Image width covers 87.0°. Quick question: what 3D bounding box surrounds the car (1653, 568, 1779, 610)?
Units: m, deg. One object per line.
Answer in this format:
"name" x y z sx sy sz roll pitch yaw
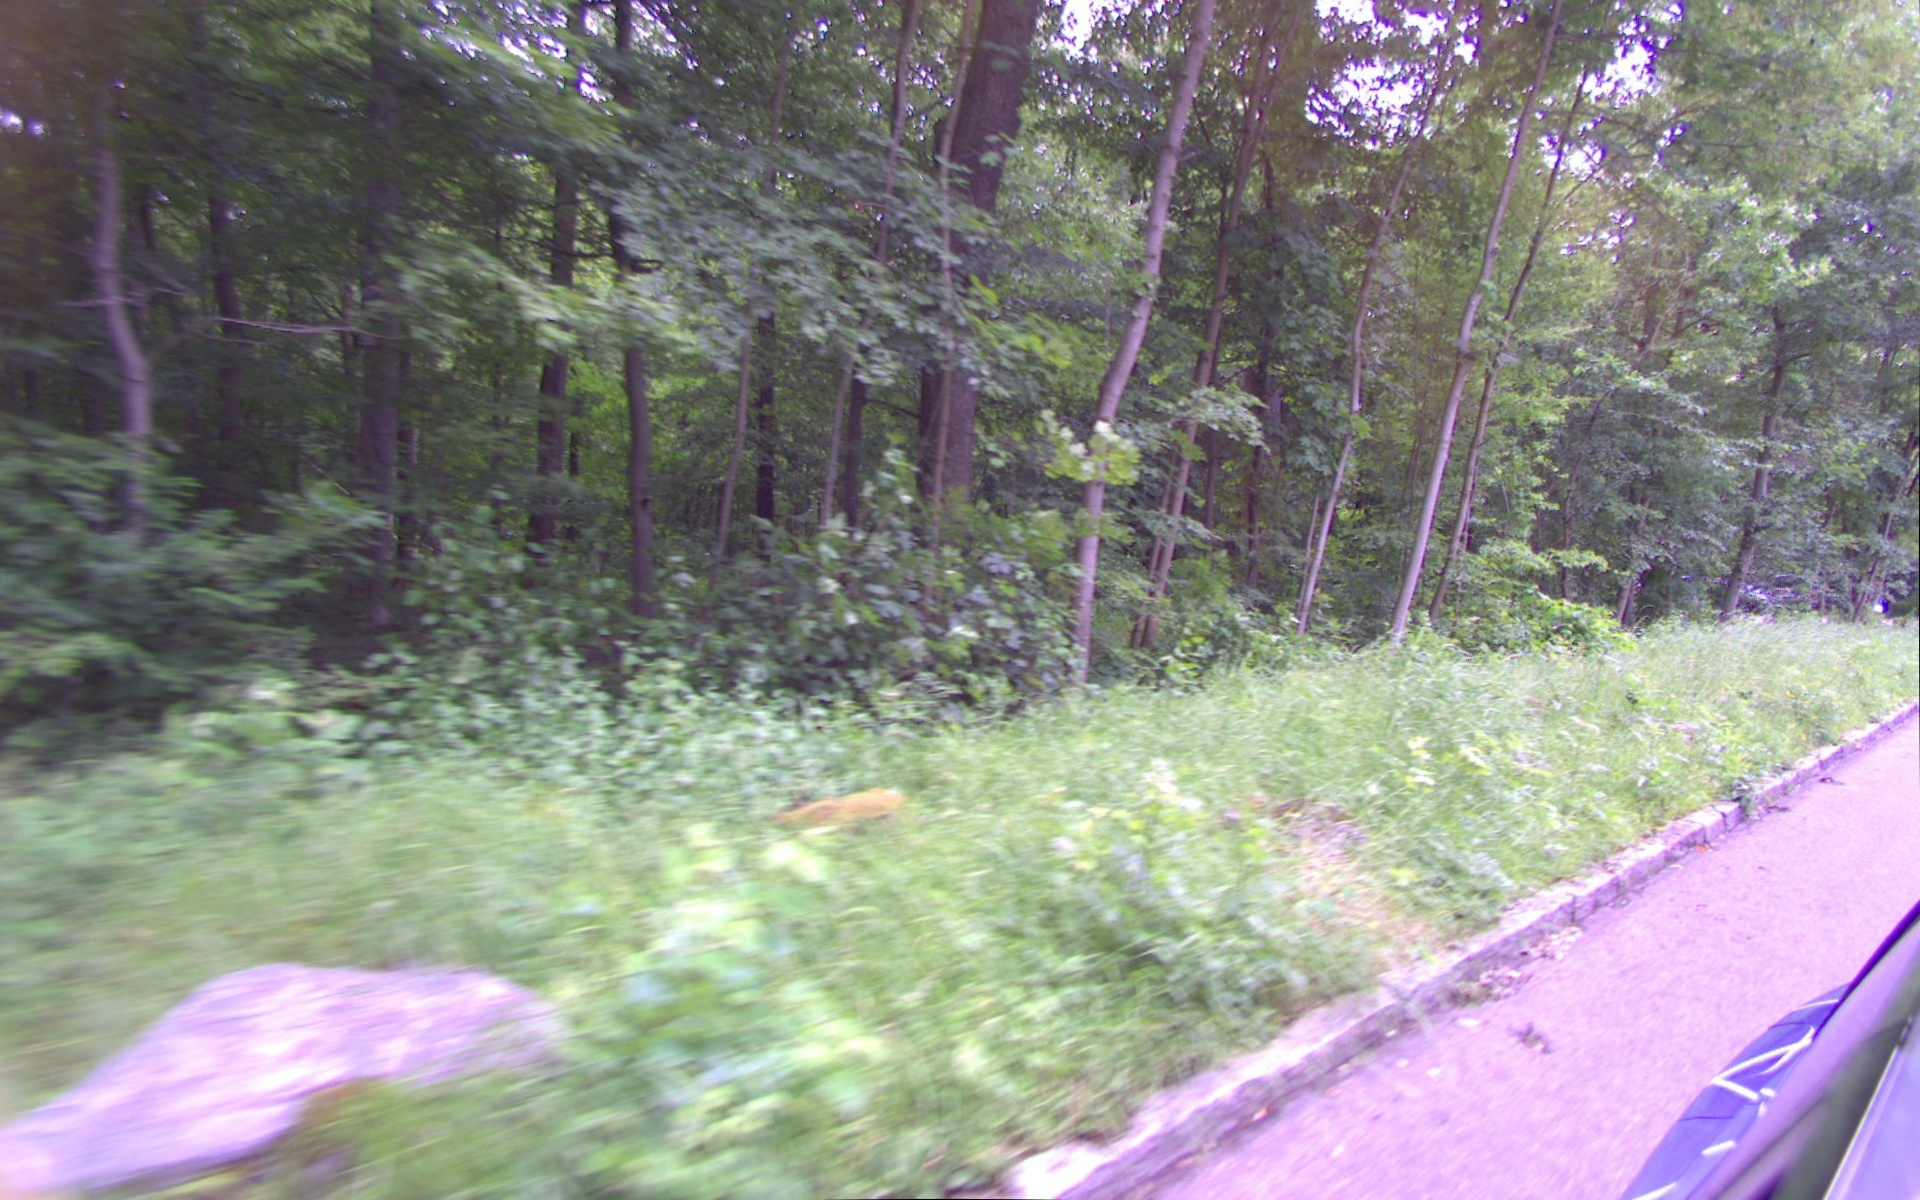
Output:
"car" 33.728 -0.530 45.280 1.779 1.653 4.106 -1 4 -30

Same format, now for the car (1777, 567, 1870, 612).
"car" 41.893 -0.505 49.113 4.425 2.002 1.894 1 2 -28
